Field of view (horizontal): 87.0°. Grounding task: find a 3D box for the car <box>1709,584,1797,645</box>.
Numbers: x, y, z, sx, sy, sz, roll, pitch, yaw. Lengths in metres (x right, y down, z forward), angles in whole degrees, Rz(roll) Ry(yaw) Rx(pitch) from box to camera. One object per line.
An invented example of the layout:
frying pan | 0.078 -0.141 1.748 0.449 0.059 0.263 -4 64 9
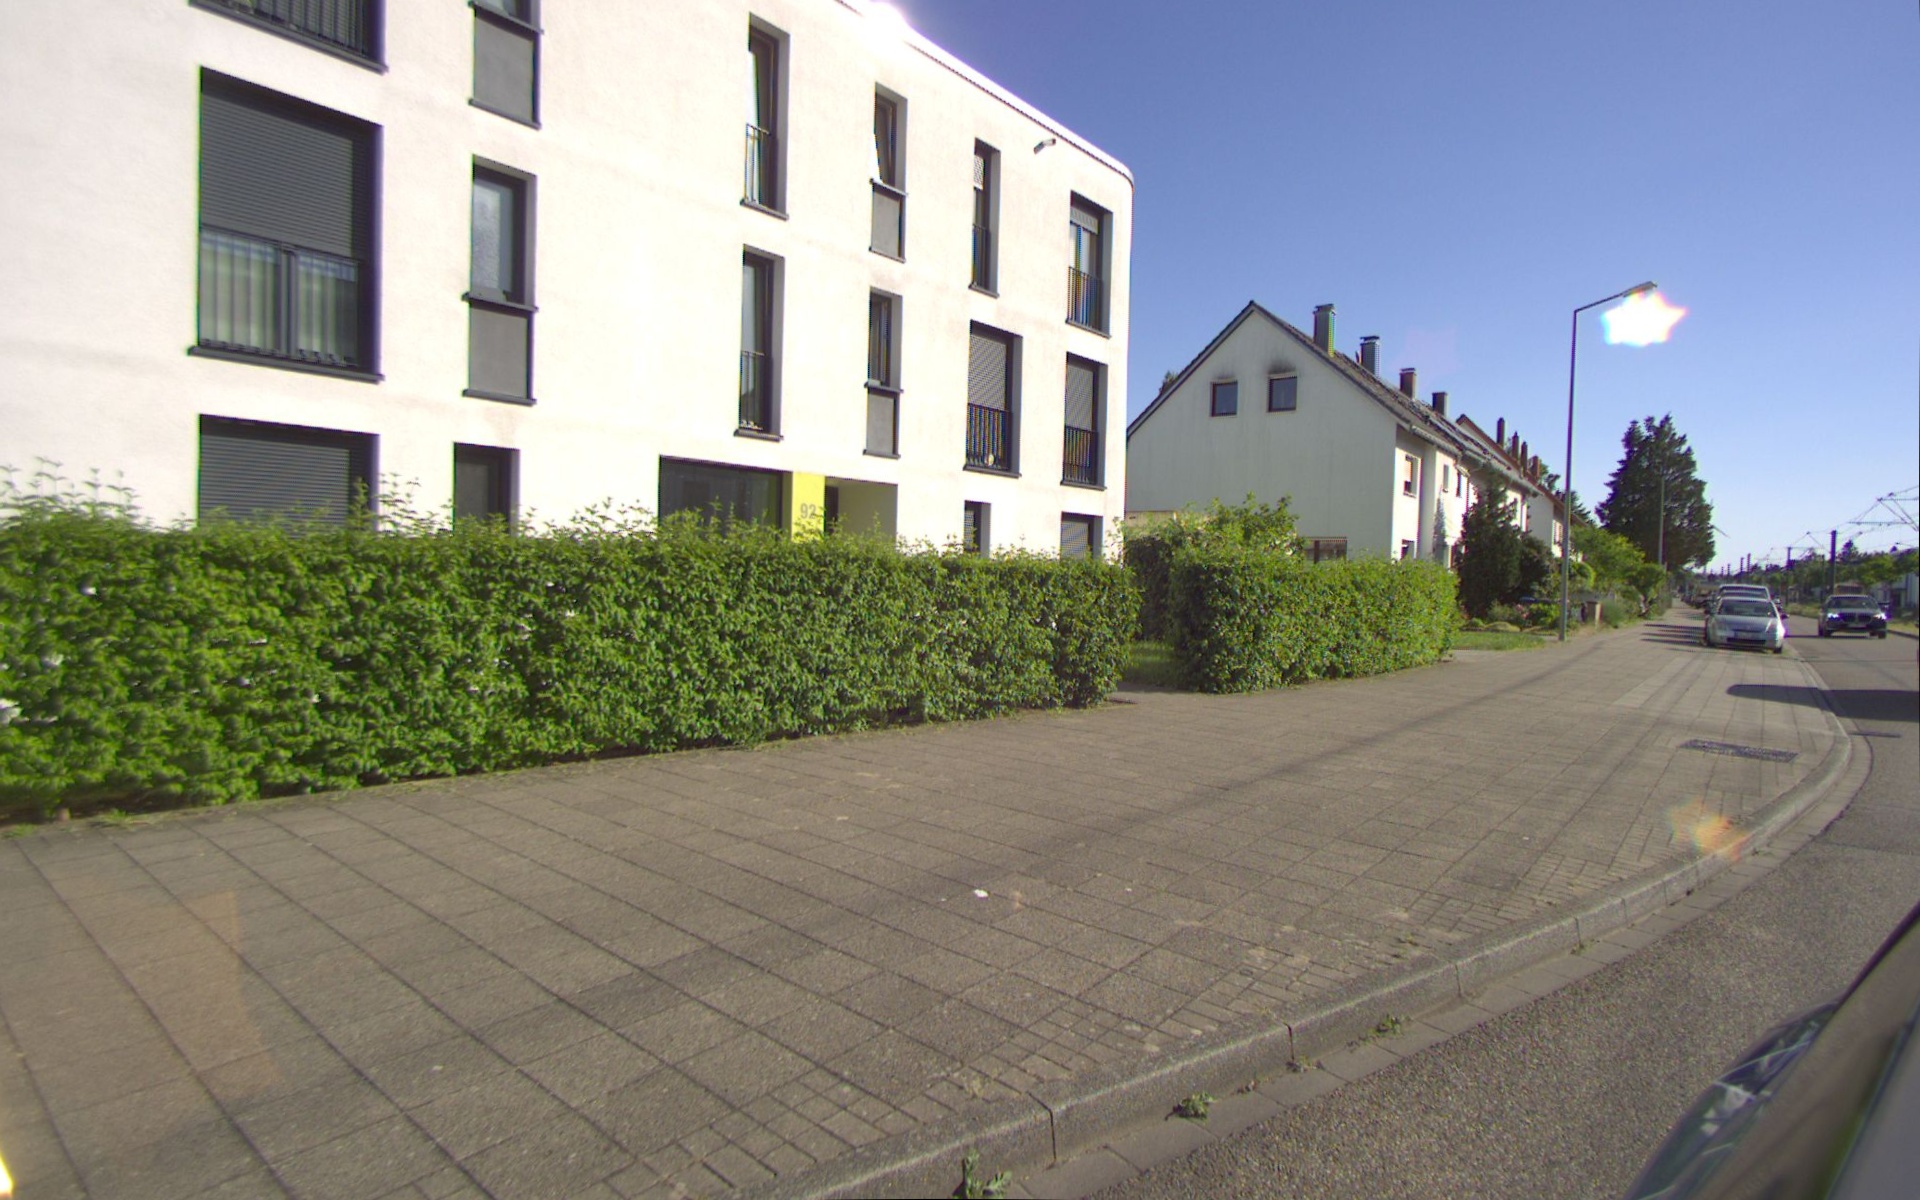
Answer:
car | 22.190 0.365 28.273 1.694 1.492 3.954 5 3 40

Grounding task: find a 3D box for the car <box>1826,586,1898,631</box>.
car | 34.624 0.300 38.935 1.887 1.533 3.698 5 3 40

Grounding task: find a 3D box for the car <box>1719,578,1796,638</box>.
car | 25.645 0.225 32.494 1.694 1.723 3.954 5 3 40

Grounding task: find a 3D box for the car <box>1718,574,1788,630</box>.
car | 31.384 0.046 40.014 1.887 1.986 3.954 5 3 40

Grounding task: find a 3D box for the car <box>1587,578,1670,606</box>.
car | 41.438 -0.523 62.773 3.987 1.705 1.968 1 1 44
